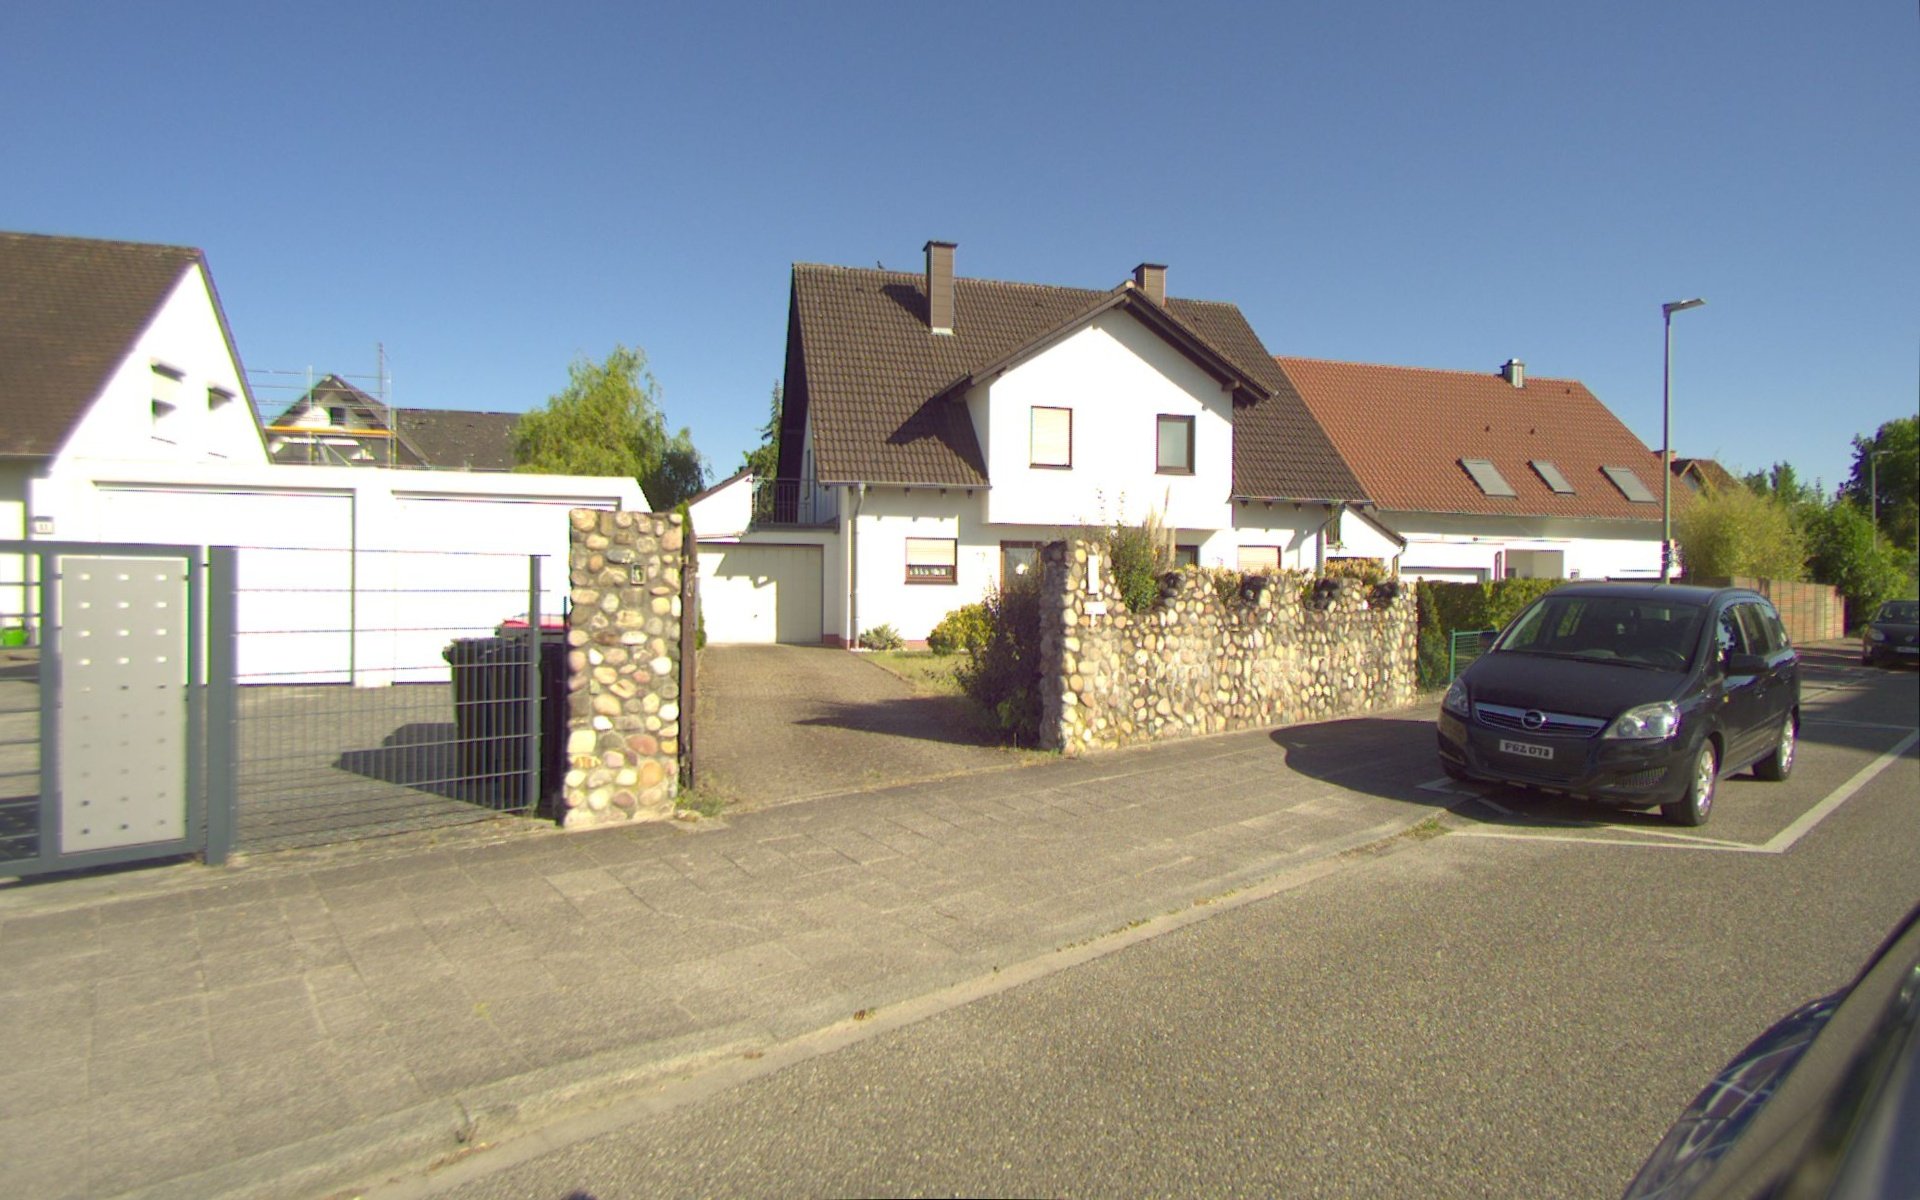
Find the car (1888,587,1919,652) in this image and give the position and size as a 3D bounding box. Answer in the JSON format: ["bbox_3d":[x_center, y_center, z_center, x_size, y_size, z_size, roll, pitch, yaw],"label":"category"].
[{"bbox_3d":[25.418,0.492,26.324,3.754,1.621,1.725,0,0,-45],"label":"car"}]

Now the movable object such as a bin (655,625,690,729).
[{"bbox_3d":[-2.700,0.712,9.506,0.285,0.936,0.464,0,0,-13],"label":"movable object such as a bin"}]

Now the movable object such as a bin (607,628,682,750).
[{"bbox_3d":[-2.535,0.700,8.153,0.542,0.936,0.373,0,0,-13],"label":"movable object such as a bin"}]

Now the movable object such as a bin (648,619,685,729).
[{"bbox_3d":[-2.608,0.650,9.009,0.285,0.936,0.439,0,0,-13],"label":"movable object such as a bin"}]

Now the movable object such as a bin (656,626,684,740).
[{"bbox_3d":[-2.466,0.693,8.605,0.201,0.936,0.345,0,0,-13],"label":"movable object such as a bin"}]

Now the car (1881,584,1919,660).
[{"bbox_3d":[21.912,0.463,22.712,3.754,1.621,1.657,0,0,-45],"label":"car"}]

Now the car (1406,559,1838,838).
[{"bbox_3d":[5.475,0.585,8.155,4.227,1.680,1.779,0,0,-40],"label":"car"}]
